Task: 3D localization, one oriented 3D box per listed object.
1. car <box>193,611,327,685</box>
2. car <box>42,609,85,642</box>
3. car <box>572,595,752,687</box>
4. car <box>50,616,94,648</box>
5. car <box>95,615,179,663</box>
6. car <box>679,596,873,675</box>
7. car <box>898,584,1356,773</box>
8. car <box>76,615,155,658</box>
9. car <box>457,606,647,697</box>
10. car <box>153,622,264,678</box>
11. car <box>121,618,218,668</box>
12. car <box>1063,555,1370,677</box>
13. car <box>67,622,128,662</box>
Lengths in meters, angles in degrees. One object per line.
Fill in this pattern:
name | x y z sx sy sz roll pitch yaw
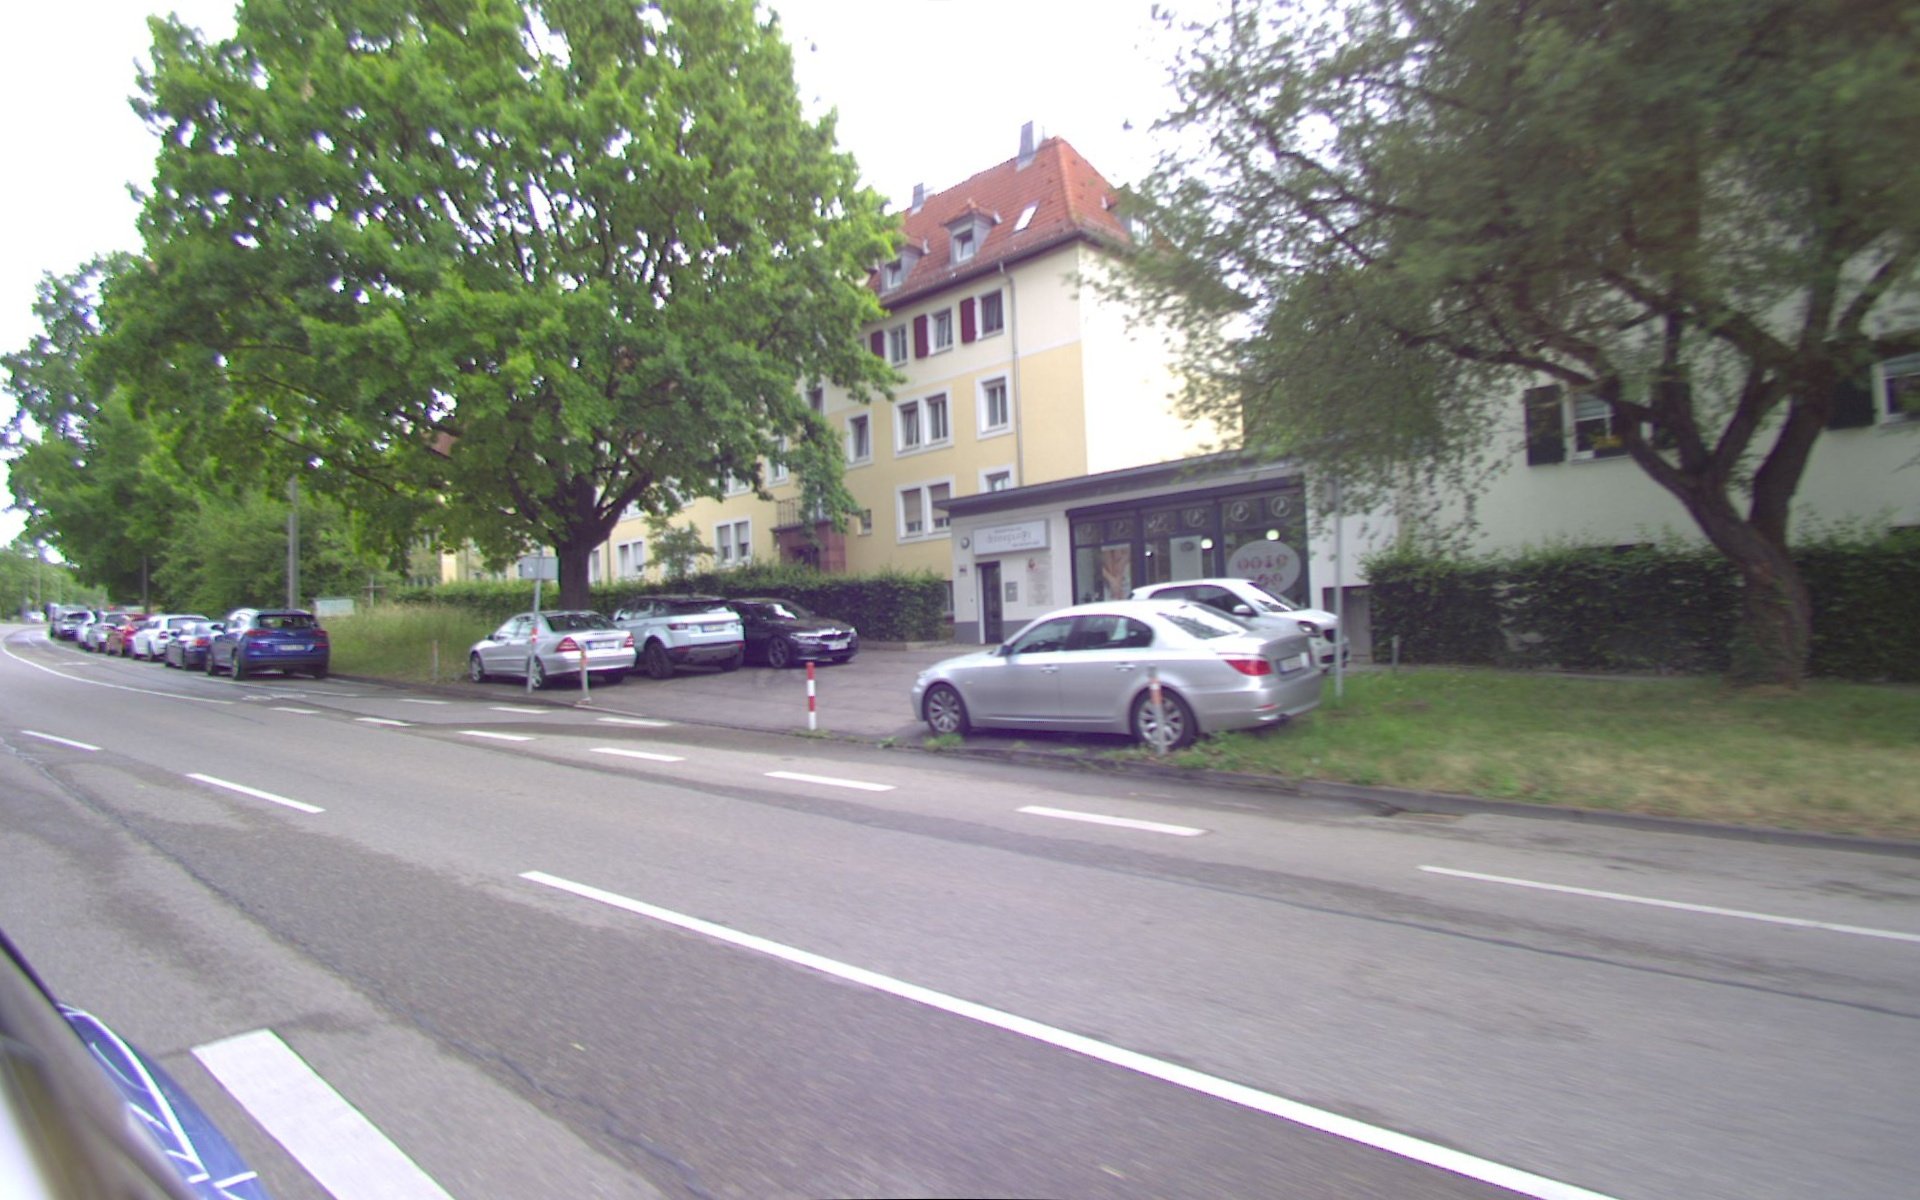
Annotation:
car | -17.143 1.160 24.709 4.533 1.625 1.697 -3 -1 42
car | -56.034 1.585 63.221 1.844 1.978 5.132 0 -1 -43
car | -6.236 0.792 20.946 4.000 1.645 1.742 -1 2 43
car | -48.641 1.737 55.404 1.745 1.646 4.162 0 -1 -43
car | -29.522 1.338 36.275 4.370 1.585 1.697 -1 0 42
car | -4.100 0.730 22.090 4.438 1.481 1.743 -1 2 41
car | 1.622 0.712 11.082 4.751 1.645 1.743 -1 0 42
car | -33.276 1.382 39.856 4.119 1.585 1.848 -1 0 42
car | -8.030 0.931 19.705 4.392 1.547 1.742 -1 0 43
car | -21.071 1.340 28.311 4.337 1.400 1.697 -1 -1 42
car | -25.579 1.334 32.700 4.756 1.470 1.697 -1 0 42
car | 3.878 0.240 15.734 4.285 1.645 1.743 -1 0 41
car | -37.376 1.773 43.825 1.746 1.585 4.764 1 -1 -44
